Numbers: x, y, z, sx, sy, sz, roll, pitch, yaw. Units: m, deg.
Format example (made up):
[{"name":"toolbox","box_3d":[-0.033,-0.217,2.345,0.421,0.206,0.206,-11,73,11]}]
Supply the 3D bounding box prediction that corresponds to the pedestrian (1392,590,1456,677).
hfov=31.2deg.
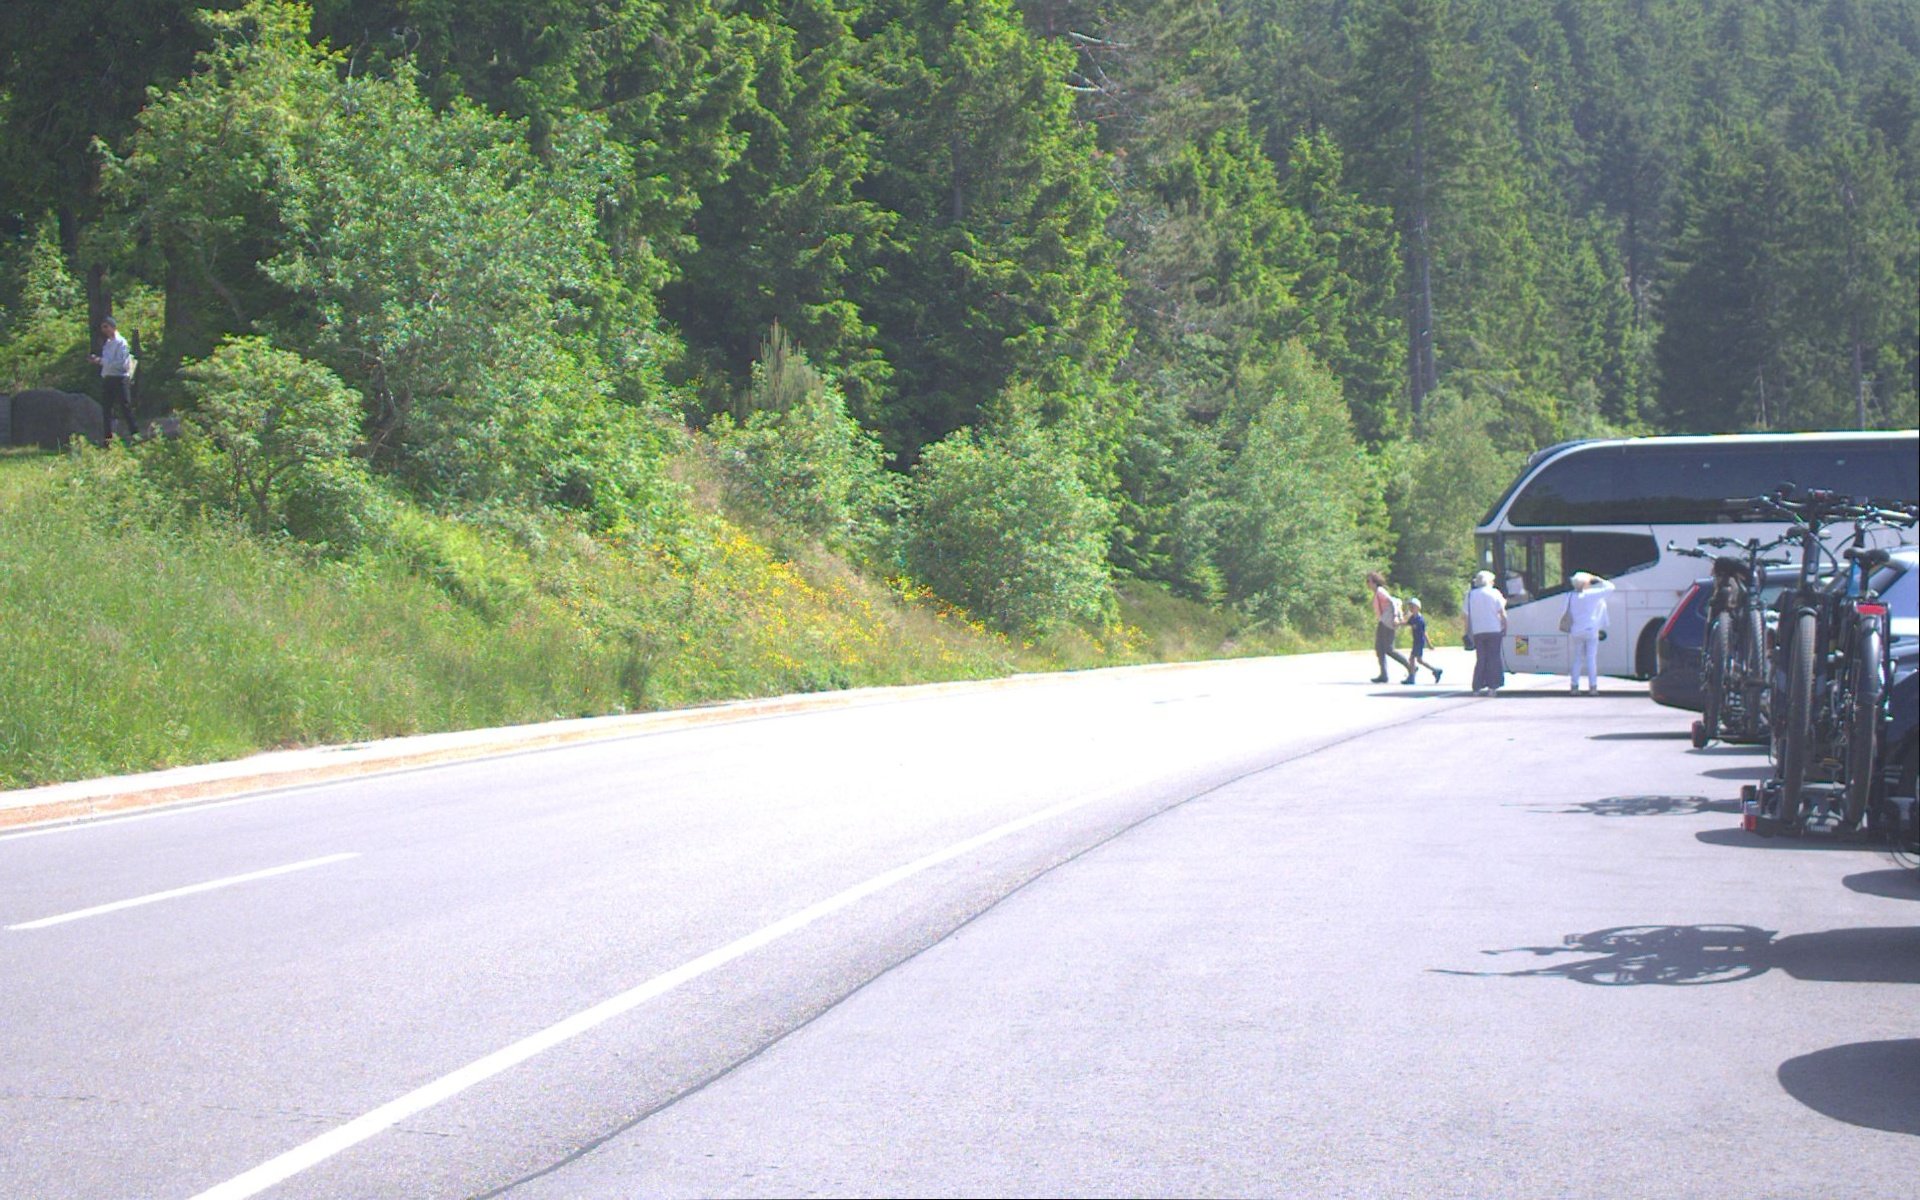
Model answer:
[{"name":"pedestrian","box_3d":[7.015,0.503,51.997,0.733,1.275,0.783,-2,0,-8]}]

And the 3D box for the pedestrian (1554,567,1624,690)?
[{"name":"pedestrian","box_3d":[8.208,0.368,44.866,0.771,1.580,0.772,-2,0,17]}]

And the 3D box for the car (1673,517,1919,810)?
[{"name":"car","box_3d":[6.840,0.302,20.341,5.036,1.645,2.047,-2,0,10]}]

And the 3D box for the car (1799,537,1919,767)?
[{"name":"car","box_3d":[7.965,0.303,23.945,3.988,1.548,1.659,-2,0,10]}]

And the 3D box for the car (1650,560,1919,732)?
[{"name":"car","box_3d":[8.249,0.377,30.791,3.988,1.444,1.860,-2,0,10]}]

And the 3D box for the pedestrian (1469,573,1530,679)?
[{"name":"pedestrian","box_3d":[8.174,0.388,52.063,0.854,1.580,0.818,-2,0,9]}]

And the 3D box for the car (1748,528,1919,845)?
[{"name":"car","box_3d":[6.268,0.373,17.557,4.245,1.548,1.837,-2,0,10]}]

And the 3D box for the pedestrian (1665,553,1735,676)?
[{"name":"pedestrian","box_3d":[9.642,0.186,44.793,0.770,1.580,0.772,-2,0,18]}]

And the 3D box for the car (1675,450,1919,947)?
[{"name":"car","box_3d":[5.106,0.290,12.265,4.951,1.690,1.944,-1,0,12]}]

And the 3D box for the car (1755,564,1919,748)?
[{"name":"car","box_3d":[8.430,0.394,27.351,3.988,1.393,1.619,-2,0,10]}]

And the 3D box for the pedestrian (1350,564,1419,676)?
[{"name":"pedestrian","box_3d":[6.522,0.307,52.806,0.853,1.677,0.870,-2,0,-4]}]

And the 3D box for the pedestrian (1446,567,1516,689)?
[{"name":"pedestrian","box_3d":[6.873,0.361,45.343,0.771,1.580,0.772,-2,0,17]}]

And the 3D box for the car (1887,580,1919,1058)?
[{"name":"car","box_3d":[4.778,0.668,9.346,4.082,1.372,1.702,1,0,4]}]

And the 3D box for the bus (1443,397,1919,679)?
[{"name":"bus","box_3d":[13.216,-0.884,45.397,13.106,3.520,3.040,-2,0,21]}]

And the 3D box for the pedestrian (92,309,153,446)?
[{"name":"pedestrian","box_3d":[-11.763,-3.118,48.286,0.680,1.871,0.542,-2,0,-5]}]

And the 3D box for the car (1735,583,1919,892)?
[{"name":"car","box_3d":[5.610,0.526,14.979,4.245,1.264,1.837,-2,0,10]}]
